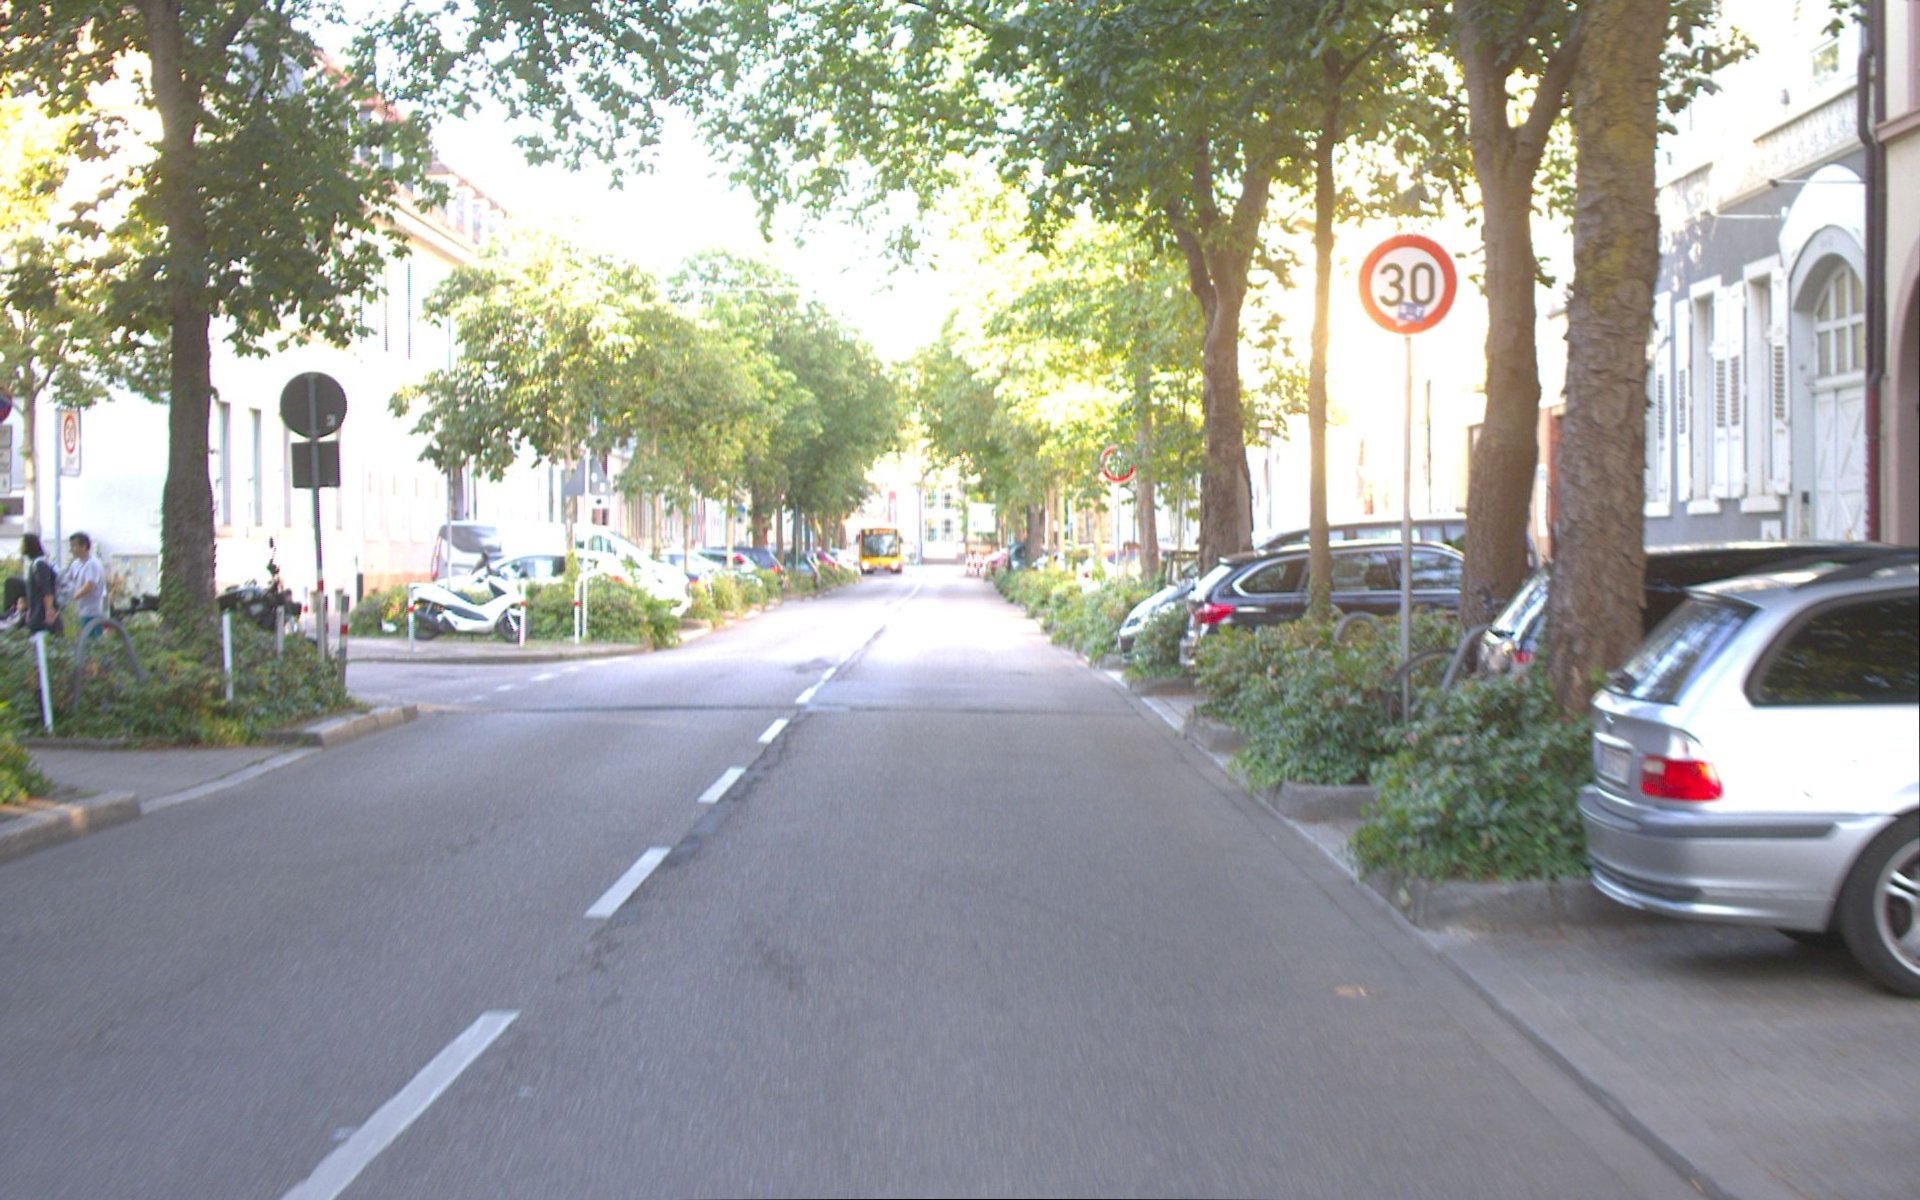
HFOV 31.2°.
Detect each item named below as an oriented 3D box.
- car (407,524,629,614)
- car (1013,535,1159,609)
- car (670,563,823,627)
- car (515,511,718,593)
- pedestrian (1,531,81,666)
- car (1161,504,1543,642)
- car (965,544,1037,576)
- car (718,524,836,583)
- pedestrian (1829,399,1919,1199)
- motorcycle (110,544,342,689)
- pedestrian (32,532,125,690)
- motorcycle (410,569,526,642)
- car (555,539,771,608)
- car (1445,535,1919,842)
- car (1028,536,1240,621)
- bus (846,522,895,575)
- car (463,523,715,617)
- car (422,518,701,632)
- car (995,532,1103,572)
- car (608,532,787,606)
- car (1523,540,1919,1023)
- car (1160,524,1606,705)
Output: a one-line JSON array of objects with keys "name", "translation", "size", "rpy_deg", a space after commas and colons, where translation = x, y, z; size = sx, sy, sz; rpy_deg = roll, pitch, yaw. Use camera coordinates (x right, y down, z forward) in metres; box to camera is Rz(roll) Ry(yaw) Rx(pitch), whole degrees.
[{"name": "car", "translation": [-7.743, -0.557, 60.442], "size": [3.725, 1.503, 1.873], "rpy_deg": [-1, 1, -3]}, {"name": "car", "translation": [3.513, -0.794, 95.411], "size": [3.987, 2.007, 2.000], "rpy_deg": [0, 1, 3]}, {"name": "car", "translation": [-7.336, -0.189, 118.349], "size": [5.064, 2.076, 2.263], "rpy_deg": [-1, 1, 1]}, {"name": "car", "translation": [-9.096, -1.291, 91.301], "size": [5.064, 2.076, 2.263], "rpy_deg": [-1, 1, 2]}, {"name": "pedestrian", "translation": [-9.597, -0.020, 35.915], "size": [0.655, 1.390, 0.607], "rpy_deg": [1, 1, 0]}, {"name": "car", "translation": [4.343, -0.316, 38.500], "size": [4.014, 1.414, 1.781], "rpy_deg": [-1, 1, -1]}, {"name": "car", "translation": [2.373, -2.317, 198.705], "size": [3.988, 1.831, 2.000], "rpy_deg": [0, 1, 7]}, {"name": "car", "translation": [-6.447, -1.649, 121.210], "size": [3.987, 2.007, 2.000], "rpy_deg": [-1, 1, 1]}, {"name": "pedestrian", "translation": [2.118, 0.560, 6.533], "size": [0.794, 1.862, 0.751], "rpy_deg": [0, 1, 5]}, {"name": "motorcycle", "translation": [-6.531, 0.142, 30.642], "size": [1.919, 1.254, 0.591], "rpy_deg": [-1, 1, 0]}, {"name": "pedestrian", "translation": [-9.444, 0.108, 36.846], "size": [0.718, 1.658, 0.838], "rpy_deg": [-1, 1, 2]}, {"name": "motorcycle", "translation": [-7.334, 0.084, 51.258], "size": [1.636, 1.064, 0.656], "rpy_deg": [0, 1, 0]}, {"name": "car", "translation": [-7.390, -0.669, 85.907], "size": [5.064, 1.611, 2.263], "rpy_deg": [-1, 1, 3]}, {"name": "car", "translation": [4.683, 0.414, 17.938], "size": [4.014, 1.475, 1.781], "rpy_deg": [-1, 1, -1]}, {"name": "car", "translation": [3.815, -0.491, 75.954], "size": [4.593, 1.755, 2.222], "rpy_deg": [-1, 1, 1]}, {"name": "bus", "translation": [-5.605, -3.283, 216.547], "size": [3.028, 3.179, 9.404], "rpy_deg": [0, 1, -1]}, {"name": "car", "translation": [-7.913, -0.657, 73.661], "size": [5.064, 1.817, 2.263], "rpy_deg": [-1, 4, 2]}, {"name": "car", "translation": [-7.584, -0.497, 65.839], "size": [5.064, 2.076, 2.263], "rpy_deg": [-1, 1, 0]}, {"name": "car", "translation": [3.382, -1.822, 130.915], "size": [3.986, 1.437, 1.697], "rpy_deg": [-1, 1, -1]}, {"name": "car", "translation": [-7.778, -0.939, 102.166], "size": [5.064, 2.076, 2.263], "rpy_deg": [-1, 1, 1]}, {"name": "car", "translation": [4.208, 0.517, 11.855], "size": [4.192, 1.475, 1.852], "rpy_deg": [-2, 1, 0]}, {"name": "car", "translation": [4.000, 0.117, 32.975], "size": [4.014, 1.617, 1.781], "rpy_deg": [-1, 1, -1]}]
